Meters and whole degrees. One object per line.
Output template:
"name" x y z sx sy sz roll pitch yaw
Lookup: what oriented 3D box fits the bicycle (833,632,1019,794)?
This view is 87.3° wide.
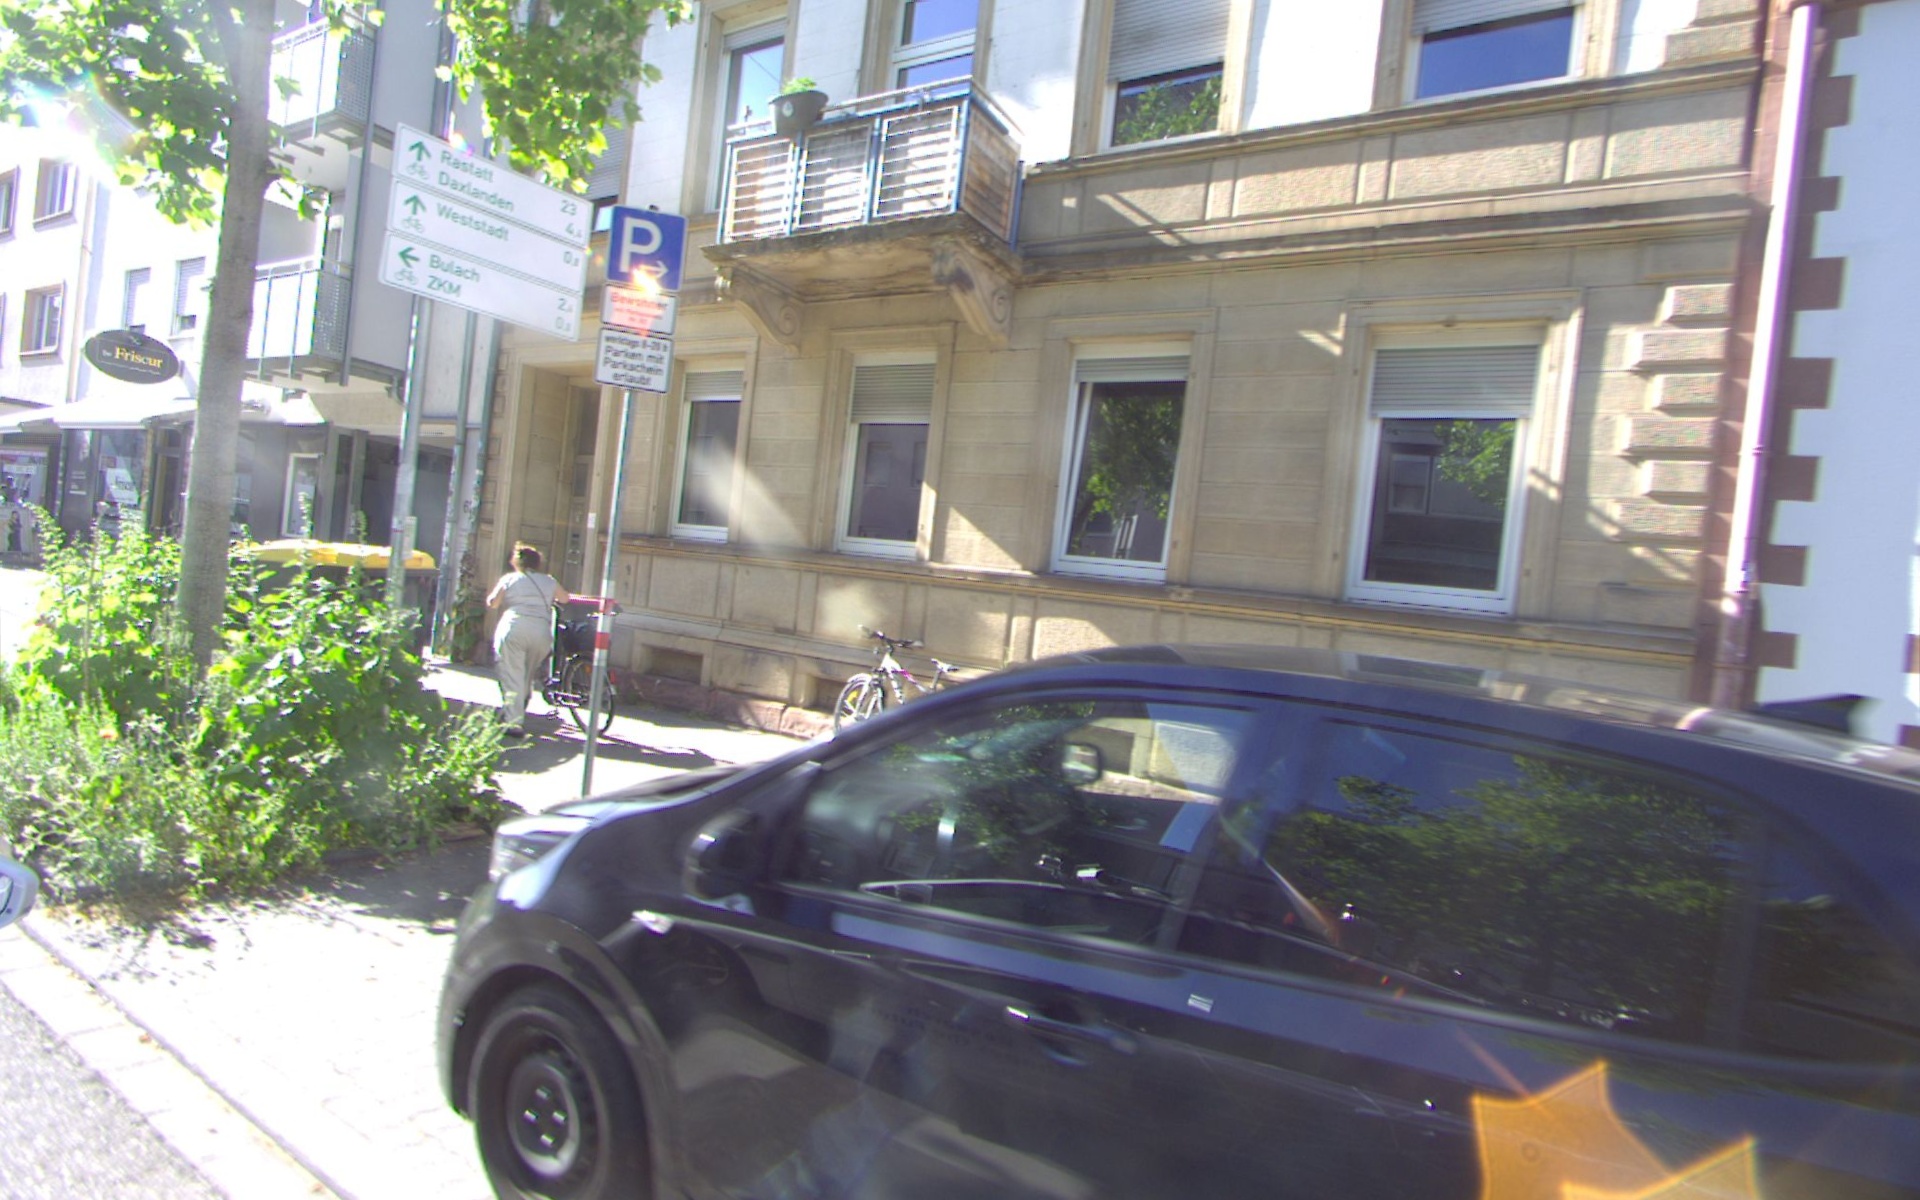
"bicycle" -0.293 0.859 8.002 1.404 1.045 0.432 7 4 32

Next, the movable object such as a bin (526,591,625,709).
"movable object such as a bin" -3.713 0.483 9.725 0.537 1.055 0.599 7 1 31

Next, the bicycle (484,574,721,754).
"bicycle" -2.941 0.472 8.168 2.089 1.163 0.537 6 1 32

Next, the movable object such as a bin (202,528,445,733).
"movable object such as a bin" -4.882 0.220 7.851 1.090 1.365 1.269 6 1 -10

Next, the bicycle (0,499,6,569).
"bicycle" -18.537 -1.291 18.988 1.198 1.292 0.475 7 4 32

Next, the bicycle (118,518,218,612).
"bicycle" -12.327 -0.554 15.639 1.852 1.285 0.548 7 1 32

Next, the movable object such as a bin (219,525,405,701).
"movable object such as a bin" -5.702 0.104 8.948 1.026 1.364 1.104 7 0 -19

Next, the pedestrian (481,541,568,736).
"pedestrian" -3.466 0.304 8.005 0.383 1.488 0.368 7 2 31

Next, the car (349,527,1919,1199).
"car" 0.471 0.782 2.288 3.520 1.494 1.637 7 1 31
